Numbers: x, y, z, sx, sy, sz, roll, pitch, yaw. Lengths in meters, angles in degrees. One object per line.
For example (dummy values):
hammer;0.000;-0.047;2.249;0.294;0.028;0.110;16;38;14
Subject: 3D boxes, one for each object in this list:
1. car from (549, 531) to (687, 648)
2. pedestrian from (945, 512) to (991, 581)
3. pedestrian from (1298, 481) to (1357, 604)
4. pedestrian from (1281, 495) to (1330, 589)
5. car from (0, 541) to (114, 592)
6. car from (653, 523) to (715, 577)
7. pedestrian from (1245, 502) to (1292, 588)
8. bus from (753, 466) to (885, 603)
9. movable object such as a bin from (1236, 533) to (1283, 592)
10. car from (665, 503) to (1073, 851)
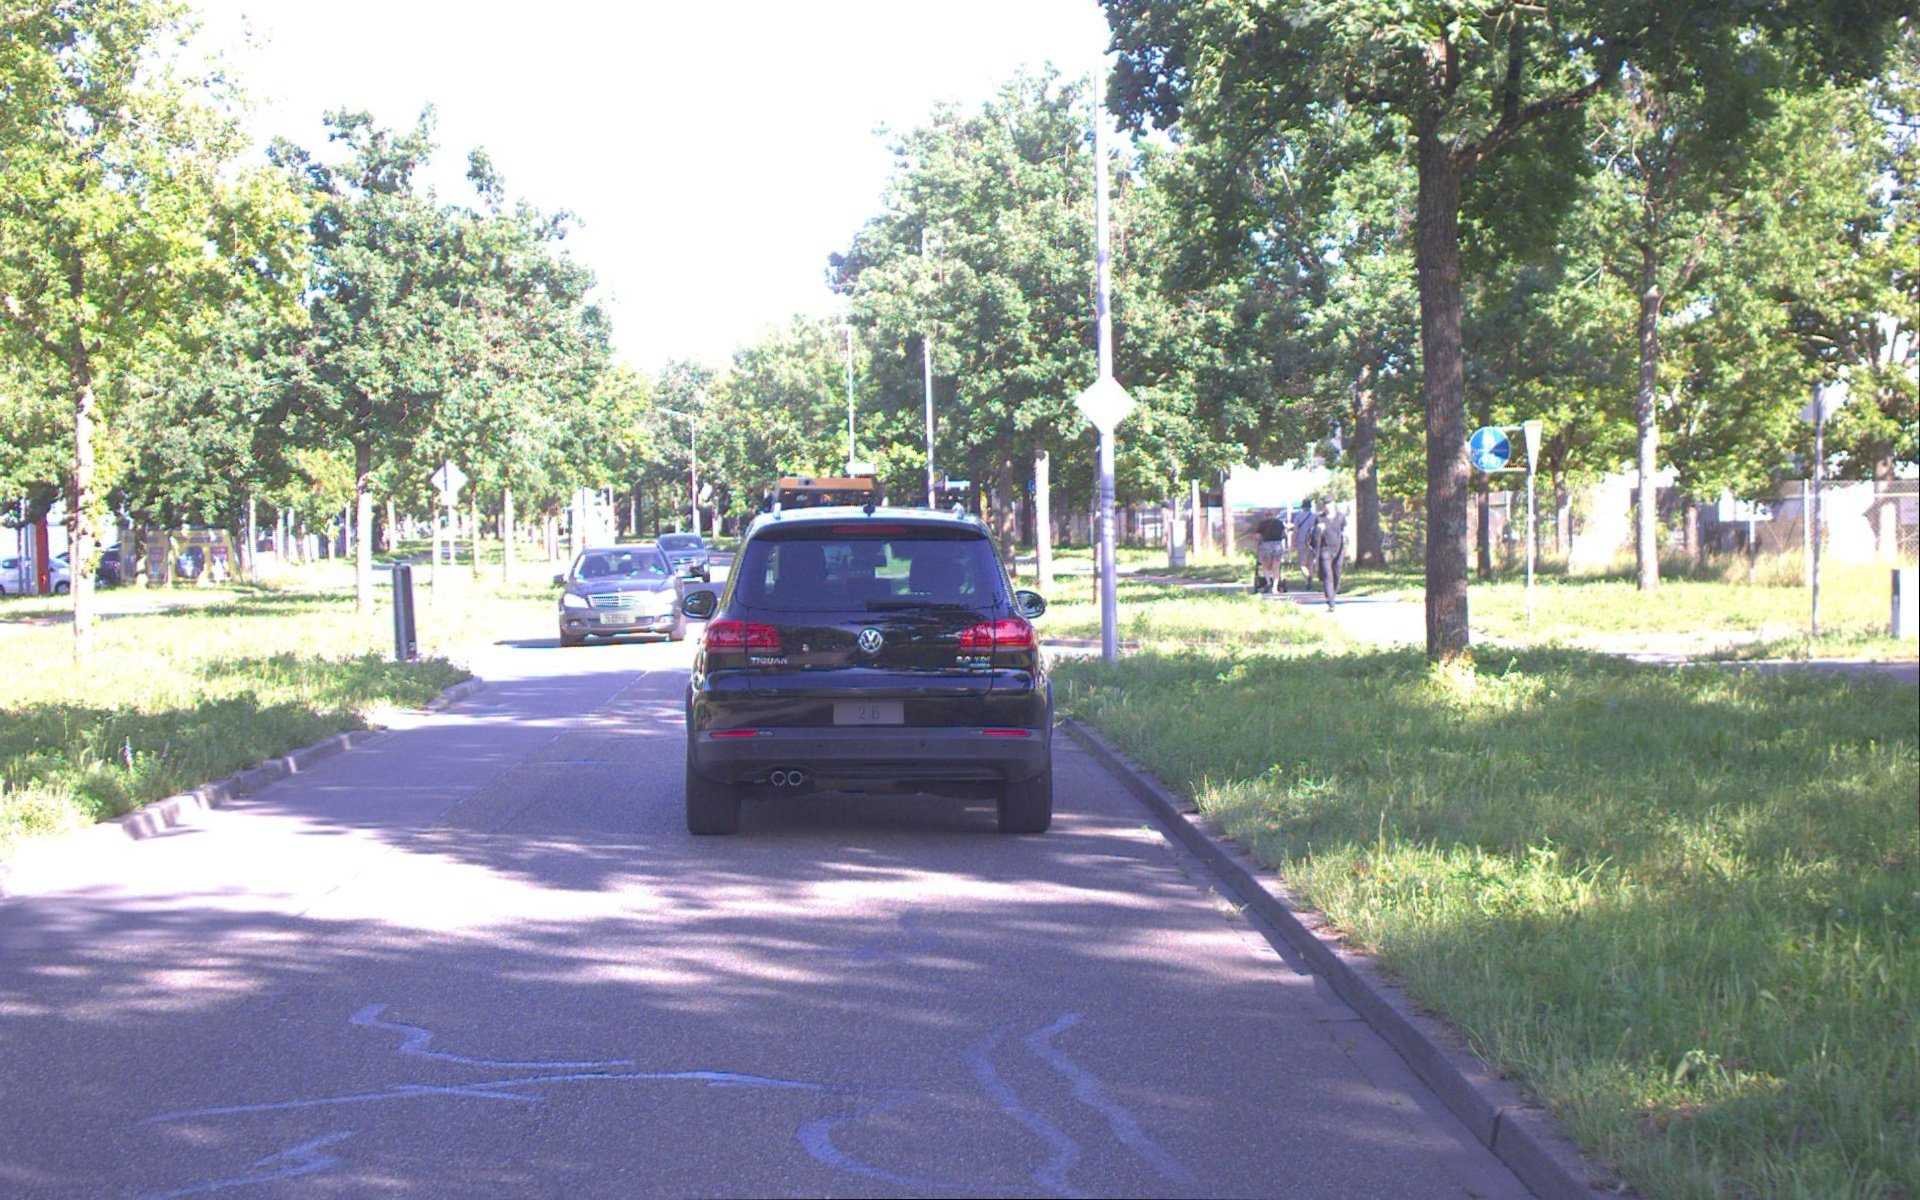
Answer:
car;-4.986;-0.187;50.625;1.765;1.523;4.496;-3;2;-3
pedestrian;0.190;-1.315;84.142;1.019;1.646;1.100;-1;1;-3
pedestrian;5.578;-0.880;52.200;0.725;1.806;0.868;-1;4;-3
pedestrian;6.616;-1.120;65.860;0.725;1.749;0.868;-3;1;-3
car;-30.426;-1.128;114.744;3.744;1.612;1.963;-1;1;12
car;-8.567;-1.564;107.088;1.804;1.531;4.496;-3;2;-4
pedestrian;5.821;-1.037;64.884;0.725;1.597;0.868;-1;1;-3
bus;-3.930;-1.831;93.502;2.764;3.444;11.213;-1;2;-6
movable object such as a bin;5.720;-0.729;65.765;0.725;1.077;0.868;-3;1;-3
car;-0.555;0.306;18.549;1.936;1.650;4.428;0;2;-3
